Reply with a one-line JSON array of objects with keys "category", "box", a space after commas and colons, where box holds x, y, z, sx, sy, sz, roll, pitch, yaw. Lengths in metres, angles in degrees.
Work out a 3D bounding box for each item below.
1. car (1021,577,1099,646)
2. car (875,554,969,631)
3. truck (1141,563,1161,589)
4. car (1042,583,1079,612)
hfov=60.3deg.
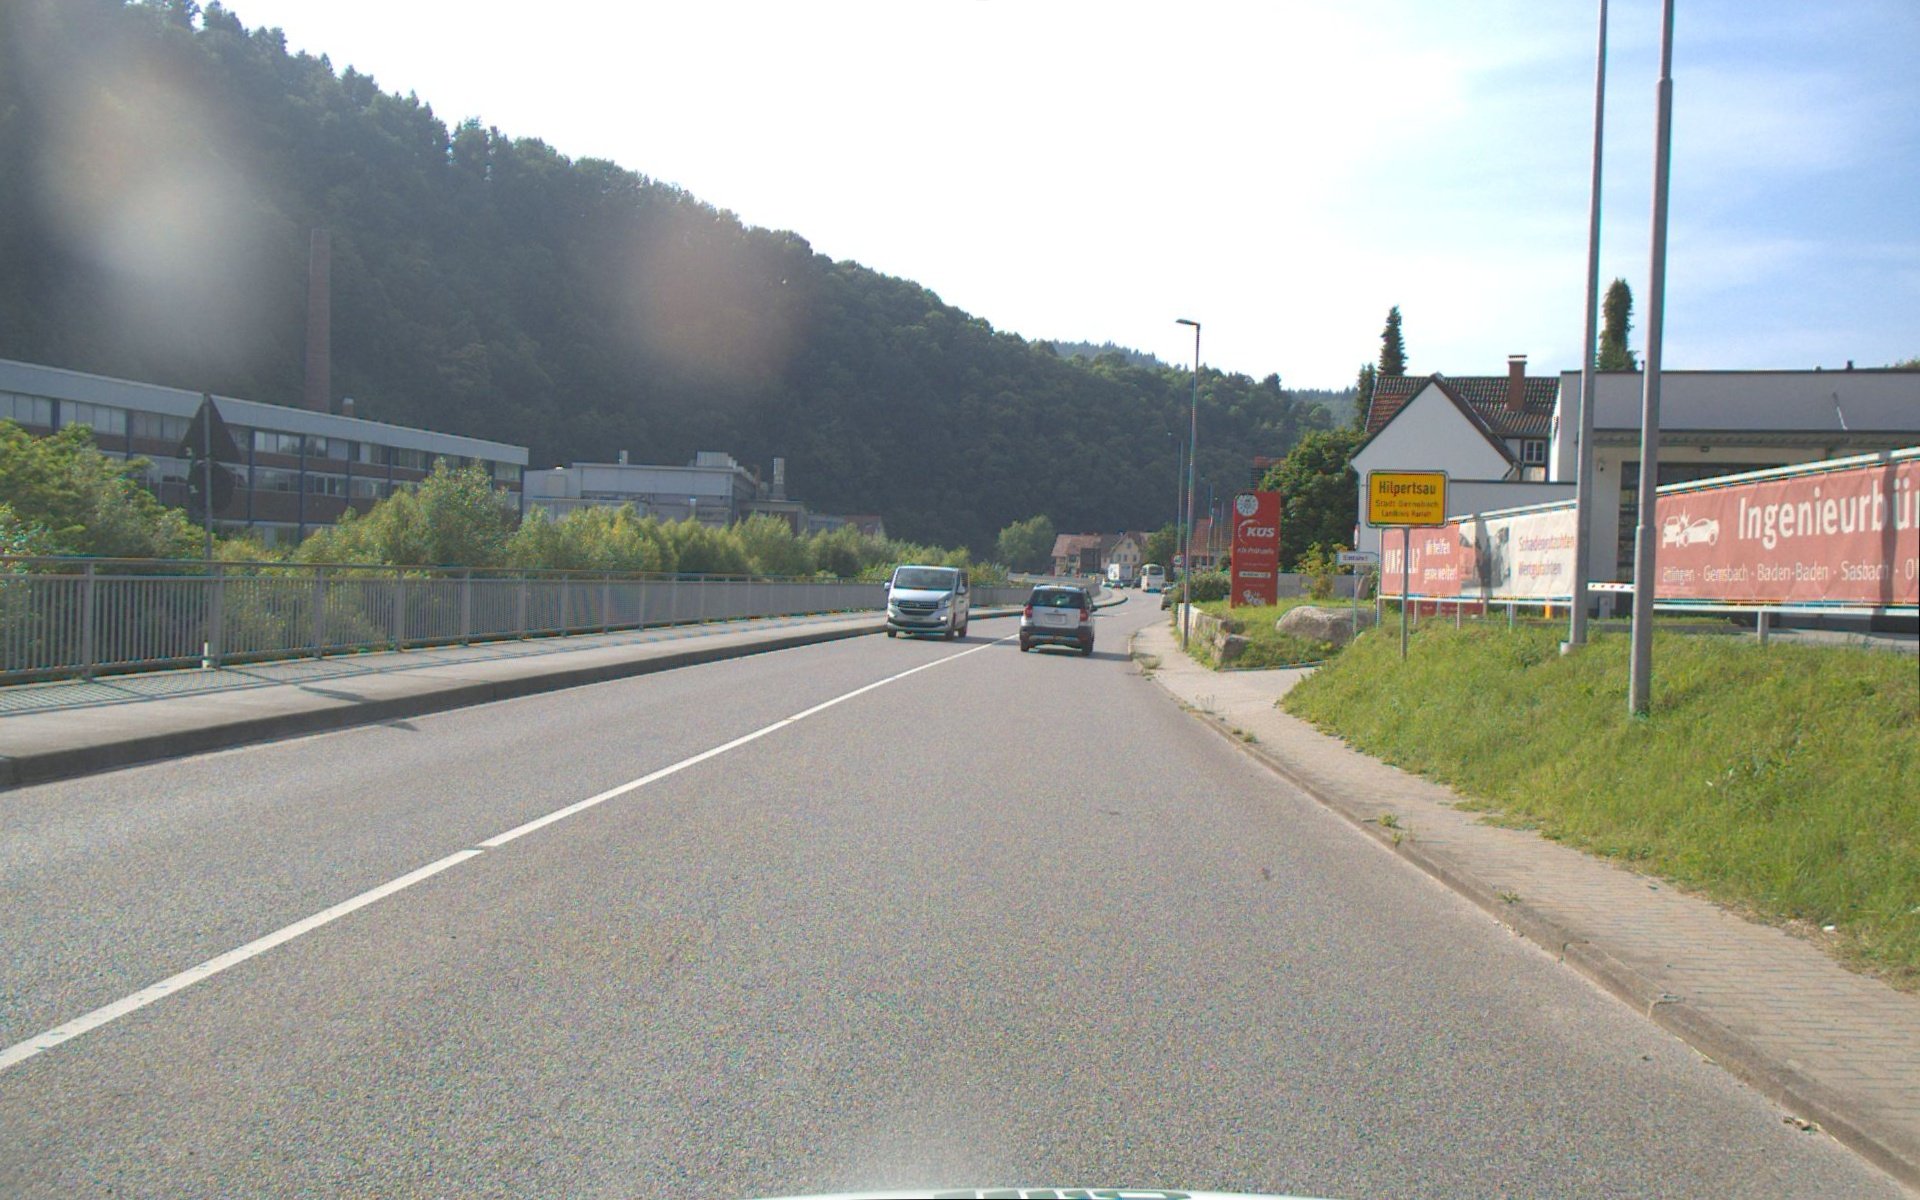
[{"category": "car", "box": [2.506, 0.247, 41.817, 1.822, 1.571, 4.375, 3, 1, 3]}, {"category": "car", "box": [-1.010, -0.202, 46.812, 1.879, 2.002, 5.150, 1, 0, 7]}, {"category": "truck", "box": [26.329, -3.367, 228.032, 2.671, 3.433, 6.484, 3, 2, 6]}, {"category": "car", "box": [5.626, -0.124, 92.167, 1.775, 1.510, 4.801, 3, 0, 6]}]
